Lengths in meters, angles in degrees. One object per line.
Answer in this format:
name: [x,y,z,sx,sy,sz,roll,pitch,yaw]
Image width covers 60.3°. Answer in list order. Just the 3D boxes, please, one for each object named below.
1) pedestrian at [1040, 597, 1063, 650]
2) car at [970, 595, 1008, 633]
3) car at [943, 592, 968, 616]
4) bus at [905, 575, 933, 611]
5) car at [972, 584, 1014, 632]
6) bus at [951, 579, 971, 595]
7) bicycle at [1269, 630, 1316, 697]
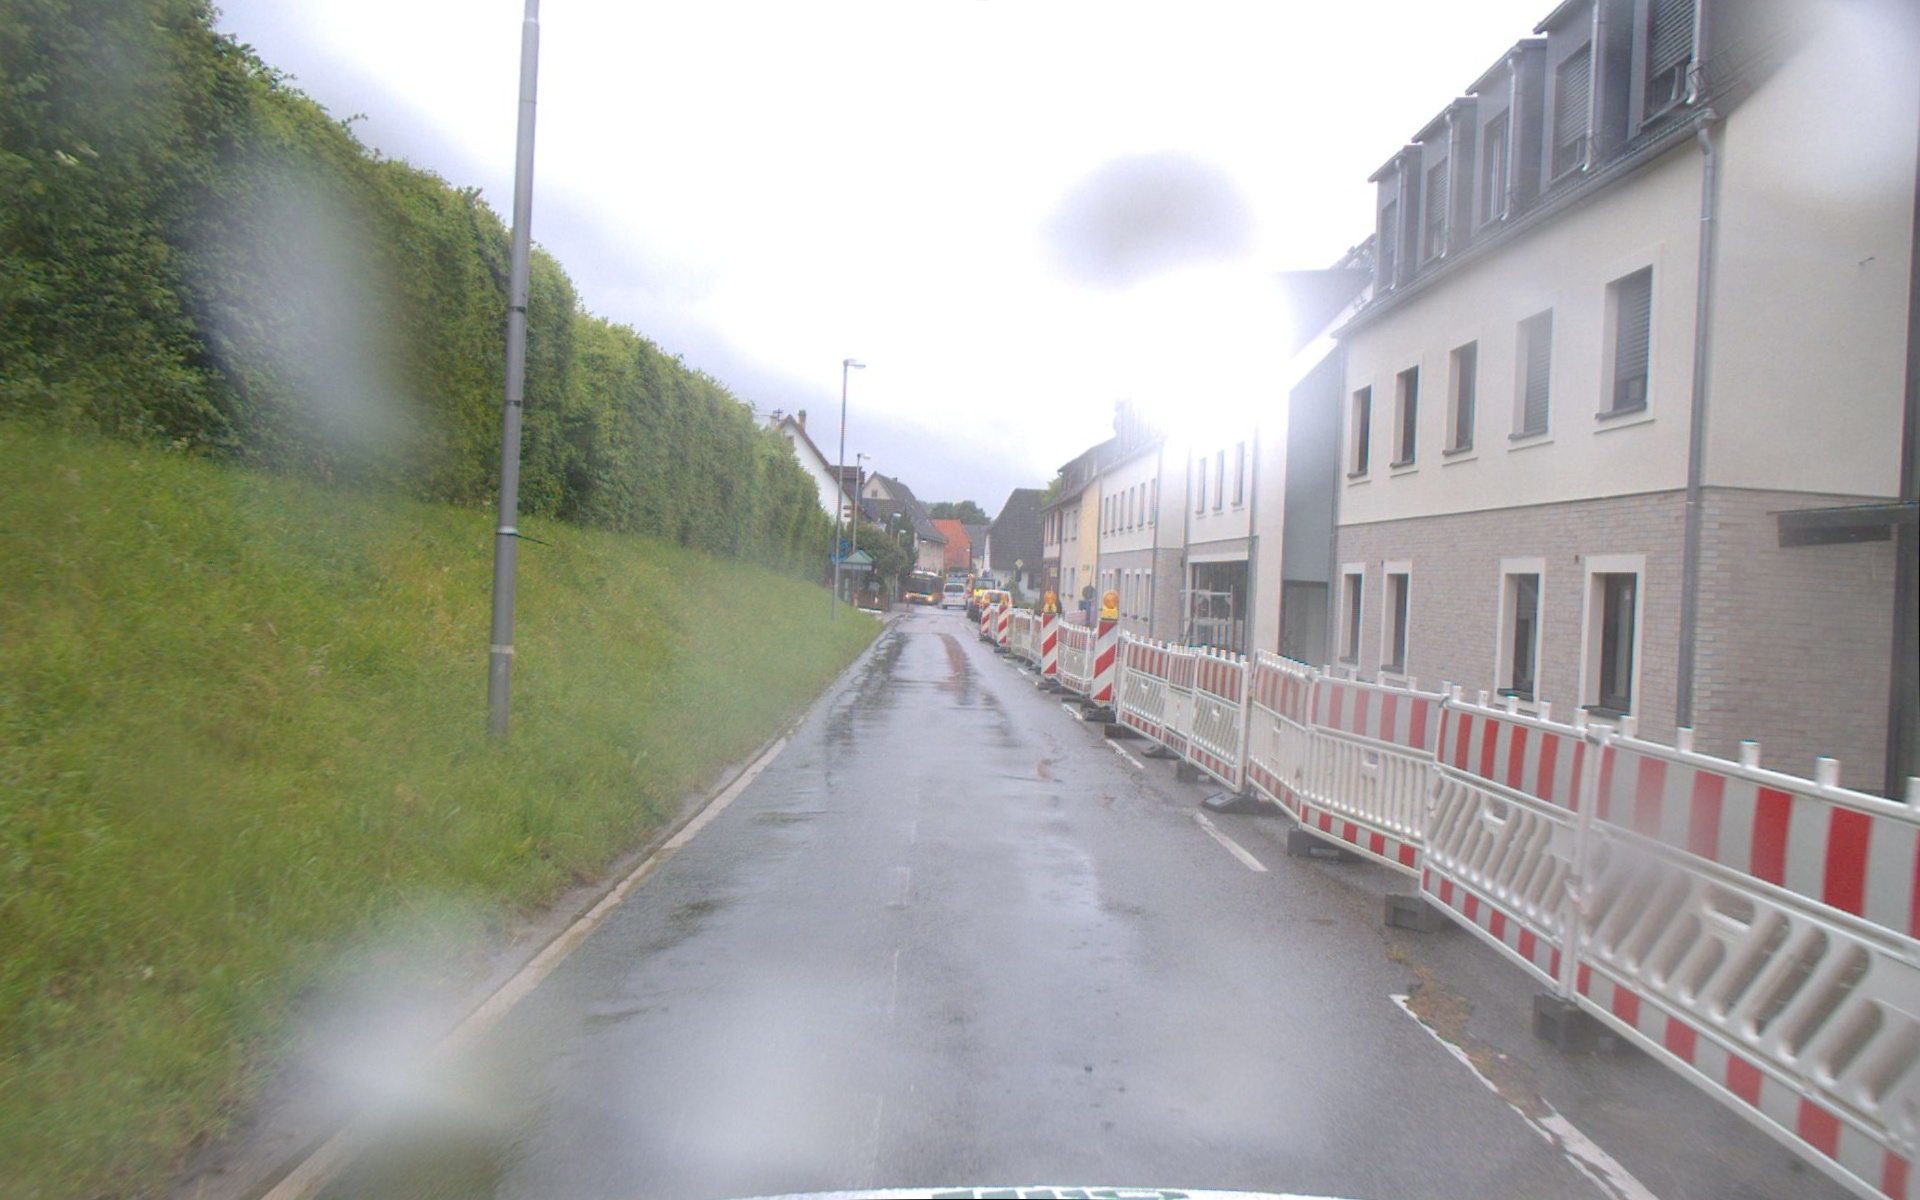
pedestrian: [3.163,0.798,57.073,0.652,1.786,0.812,4,0,0]
car: [1.639,0.795,95.232,1.953,2.048,3.999,4,0,-1]
car: [-0.365,0.280,126.868,1.781,1.670,4.094,4,0,-1]
bus: [-3.790,-0.614,154.286,2.196,3.156,7.030,4,0,1]
car: [1.757,0.409,89.341,1.953,2.416,4.094,4,0,-1]
bus: [0.084,-1.244,159.290,1.757,1.434,4.000,4,0,1]
bicycle: [6.597,1.247,32.855,0.507,1.241,1.789,4,0,0]
